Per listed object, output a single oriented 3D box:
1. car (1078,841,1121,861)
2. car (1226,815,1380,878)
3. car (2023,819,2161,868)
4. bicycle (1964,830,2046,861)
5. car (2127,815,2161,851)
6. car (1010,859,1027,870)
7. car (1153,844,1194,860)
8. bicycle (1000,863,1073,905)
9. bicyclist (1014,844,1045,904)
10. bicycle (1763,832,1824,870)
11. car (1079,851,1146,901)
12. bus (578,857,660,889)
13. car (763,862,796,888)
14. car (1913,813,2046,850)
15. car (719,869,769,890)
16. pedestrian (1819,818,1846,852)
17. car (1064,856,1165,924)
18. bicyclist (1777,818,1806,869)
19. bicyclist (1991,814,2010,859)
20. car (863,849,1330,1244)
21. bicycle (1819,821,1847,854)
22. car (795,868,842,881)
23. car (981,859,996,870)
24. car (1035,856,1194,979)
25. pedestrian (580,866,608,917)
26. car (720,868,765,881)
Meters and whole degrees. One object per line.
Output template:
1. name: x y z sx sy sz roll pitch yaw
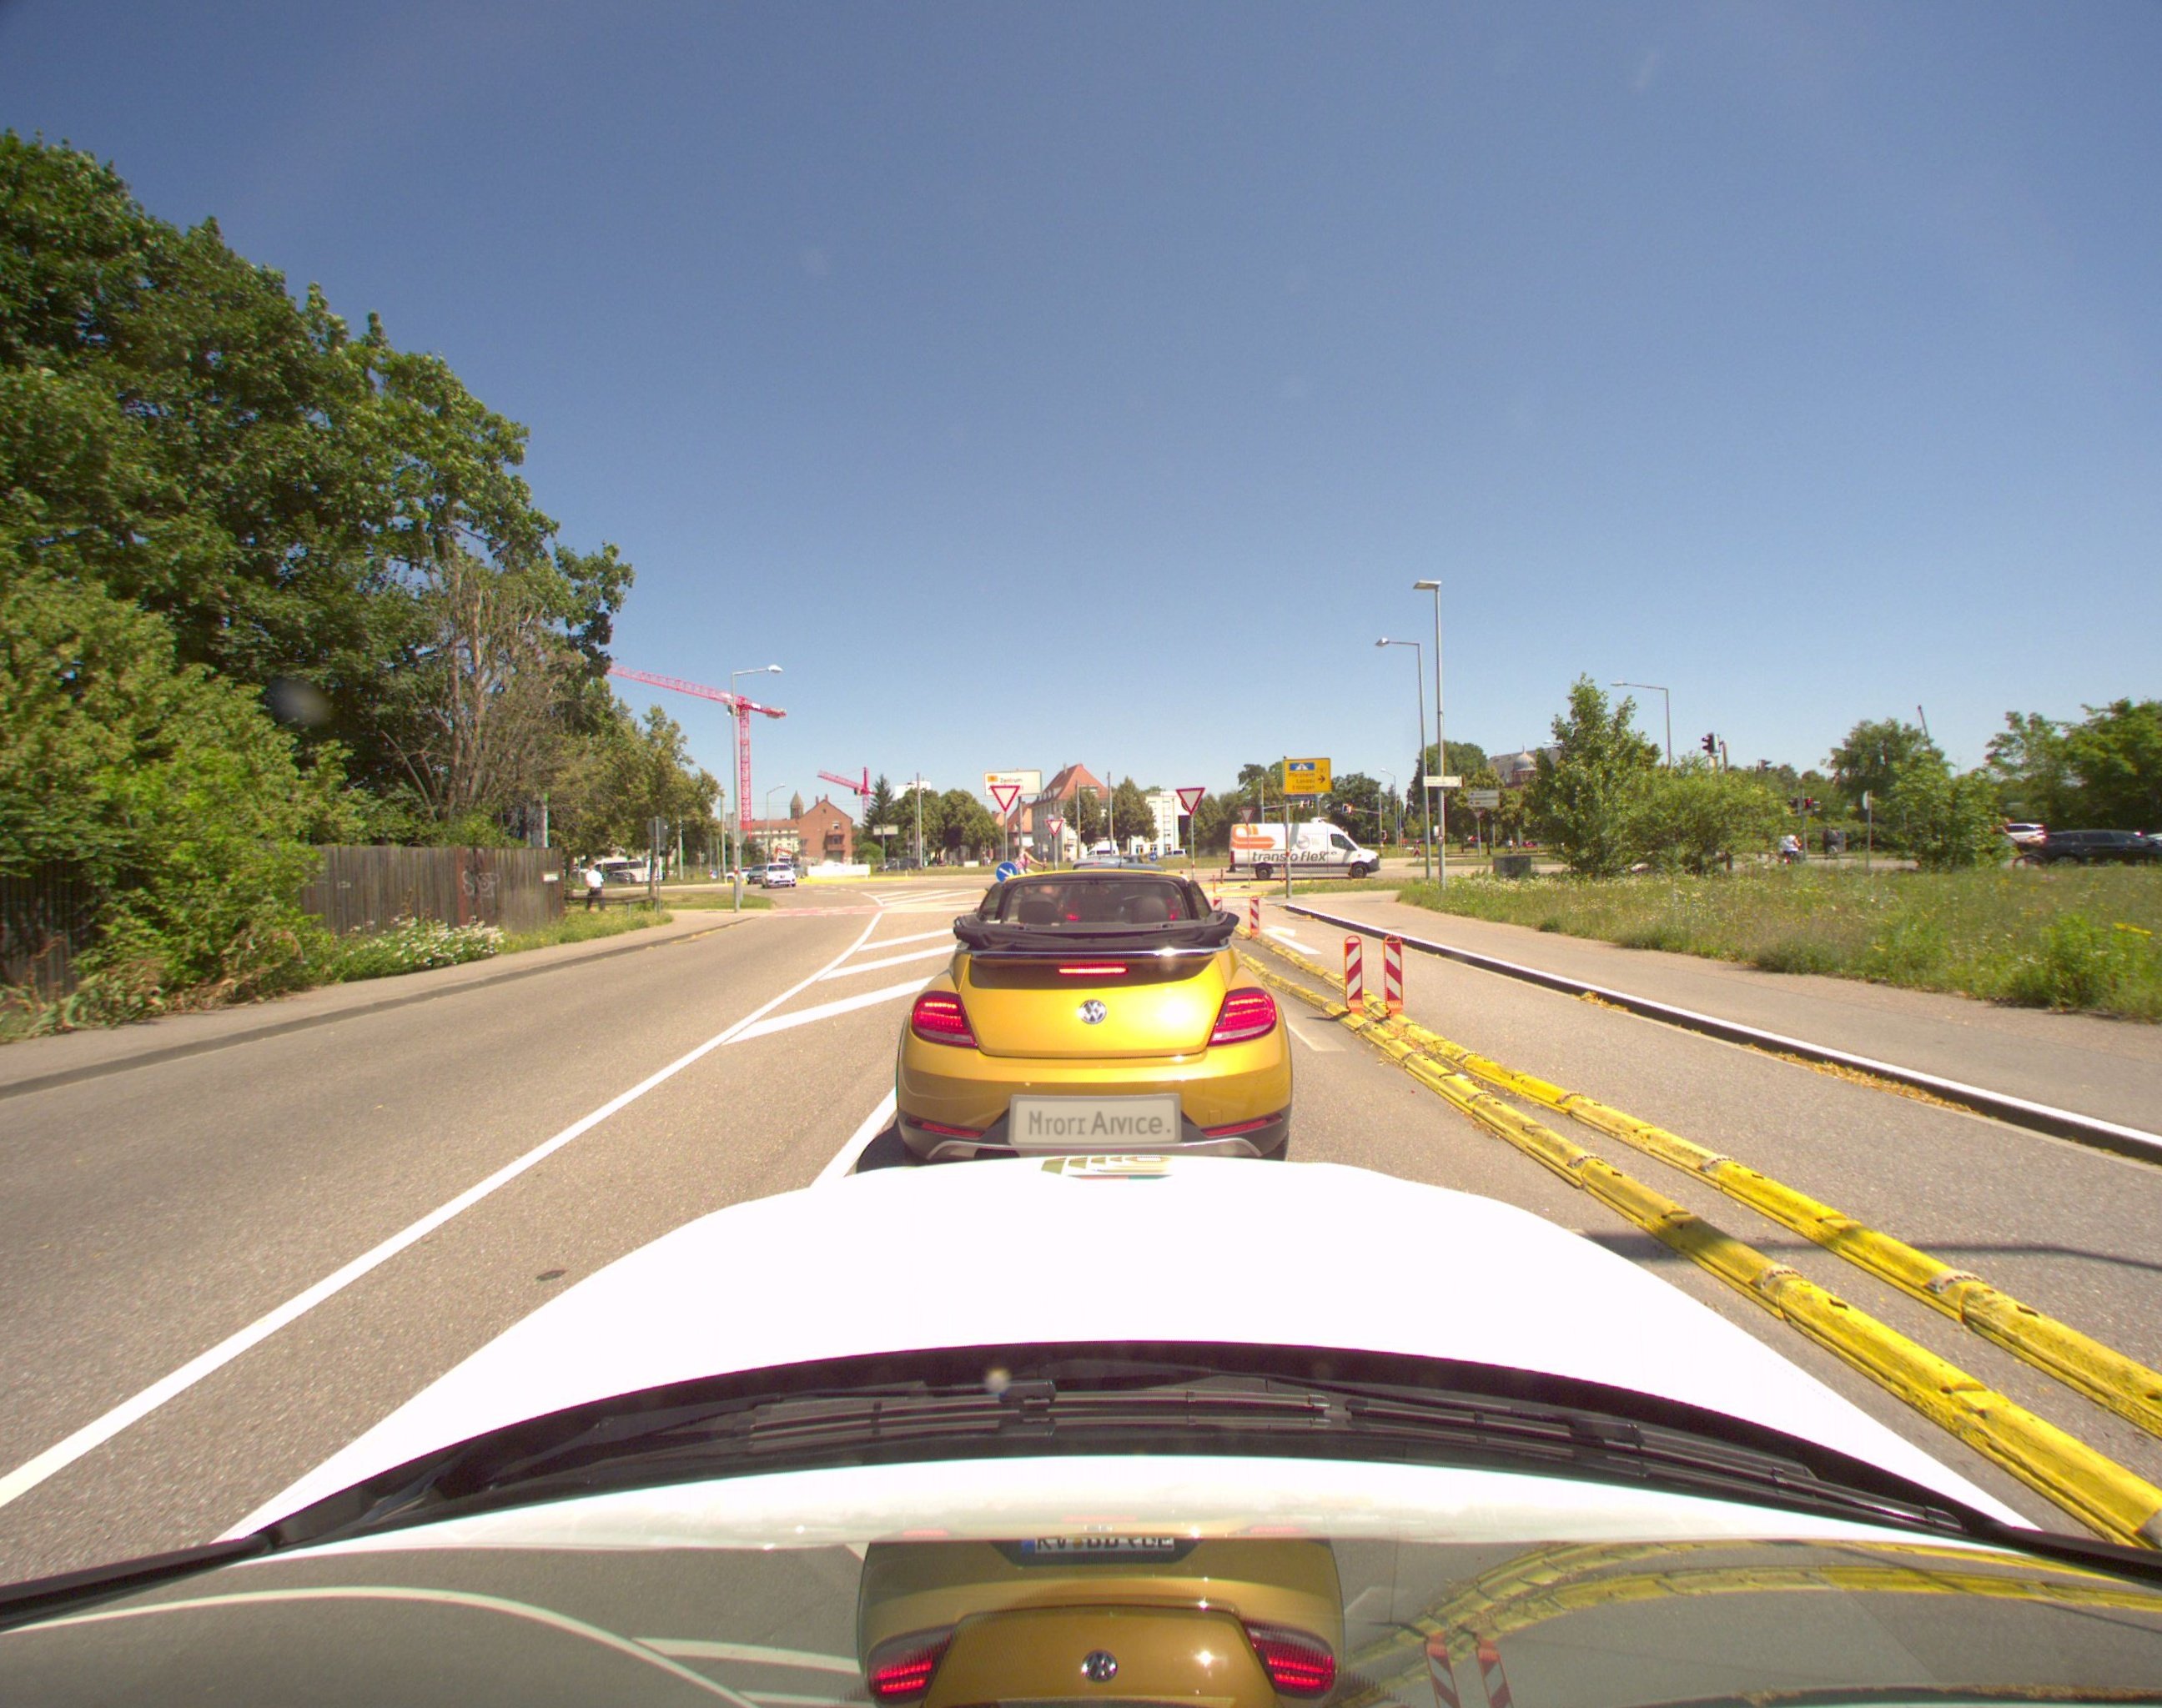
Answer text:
1. car: 2.303 -0.324 101.483 5.286 2.397 1.997 0 -1 4
2. car: 10.327 -0.334 38.418 6.818 2.828 2.006 -1 -1 10
3. car: 35.121 -0.360 27.644 3.950 1.551 1.739 0 3 43
4. bicycle: 27.500 -0.232 24.270 1.574 0.884 0.371 -1 -1 44
5. car: 51.253 -0.987 36.951 4.389 1.592 1.860 -1 -1 43
6. car: -9.617 1.607 124.906 1.889 1.772 3.977 0 -1 -17
7. car: 12.466 -0.313 109.470 5.277 2.070 2.000 -1 -1 11
8. bicycle: -1.352 0.906 24.494 2.073 1.221 0.637 -2 0 24
9. bicyclist: -1.549 0.605 24.455 0.664 1.752 0.596 -2 1 23
10. bicycle: 25.831 -0.110 29.522 2.902 1.353 0.635 0 -1 -28
11. car: 1.062 0.676 27.741 2.057 1.481 4.545 -2 0 2
12. bus: -47.959 1.951 84.653 7.226 3.172 2.262 0 -1 1
13. car: -19.136 1.323 51.575 1.783 1.527 3.844 -2 0 -22
14. car: 45.737 -1.104 41.601 4.389 1.736 1.860 -1 -1 43
15. car: -24.002 1.793 58.172 1.740 1.371 4.332 0 0 1
16. pedestrian: 37.900 -0.946 41.054 0.959 1.660 0.892 -1 -1 44
17. car: 0.748 0.747 18.698 2.057 1.382 4.259 0 0 2
18. bicyclist: 25.758 -0.379 29.517 0.573 1.841 0.603 0 -1 -29
19. bicyclist: 27.462 -0.515 24.314 0.381 1.319 0.352 0 -1 -40
20. car: 0.121 0.747 5.211 1.758 1.481 4.259 0 -1 2
21. bicycle: 37.999 -0.818 41.164 0.972 1.597 2.900 -1 -1 43
22. car: -27.722 2.154 86.106 4.351 1.371 1.732 0 -1 -38
23. car: -16.050 1.787 141.084 1.889 1.772 3.977 0 -1 -17
24. car: 0.461 0.760 11.807 1.844 1.366 4.260 -2 0 2
25. pedestrian: -17.212 1.303 28.775 0.641 1.786 0.957 0 -1 -43
26. car: -36.073 2.180 86.908 4.335 1.371 1.739 0 -1 -23
